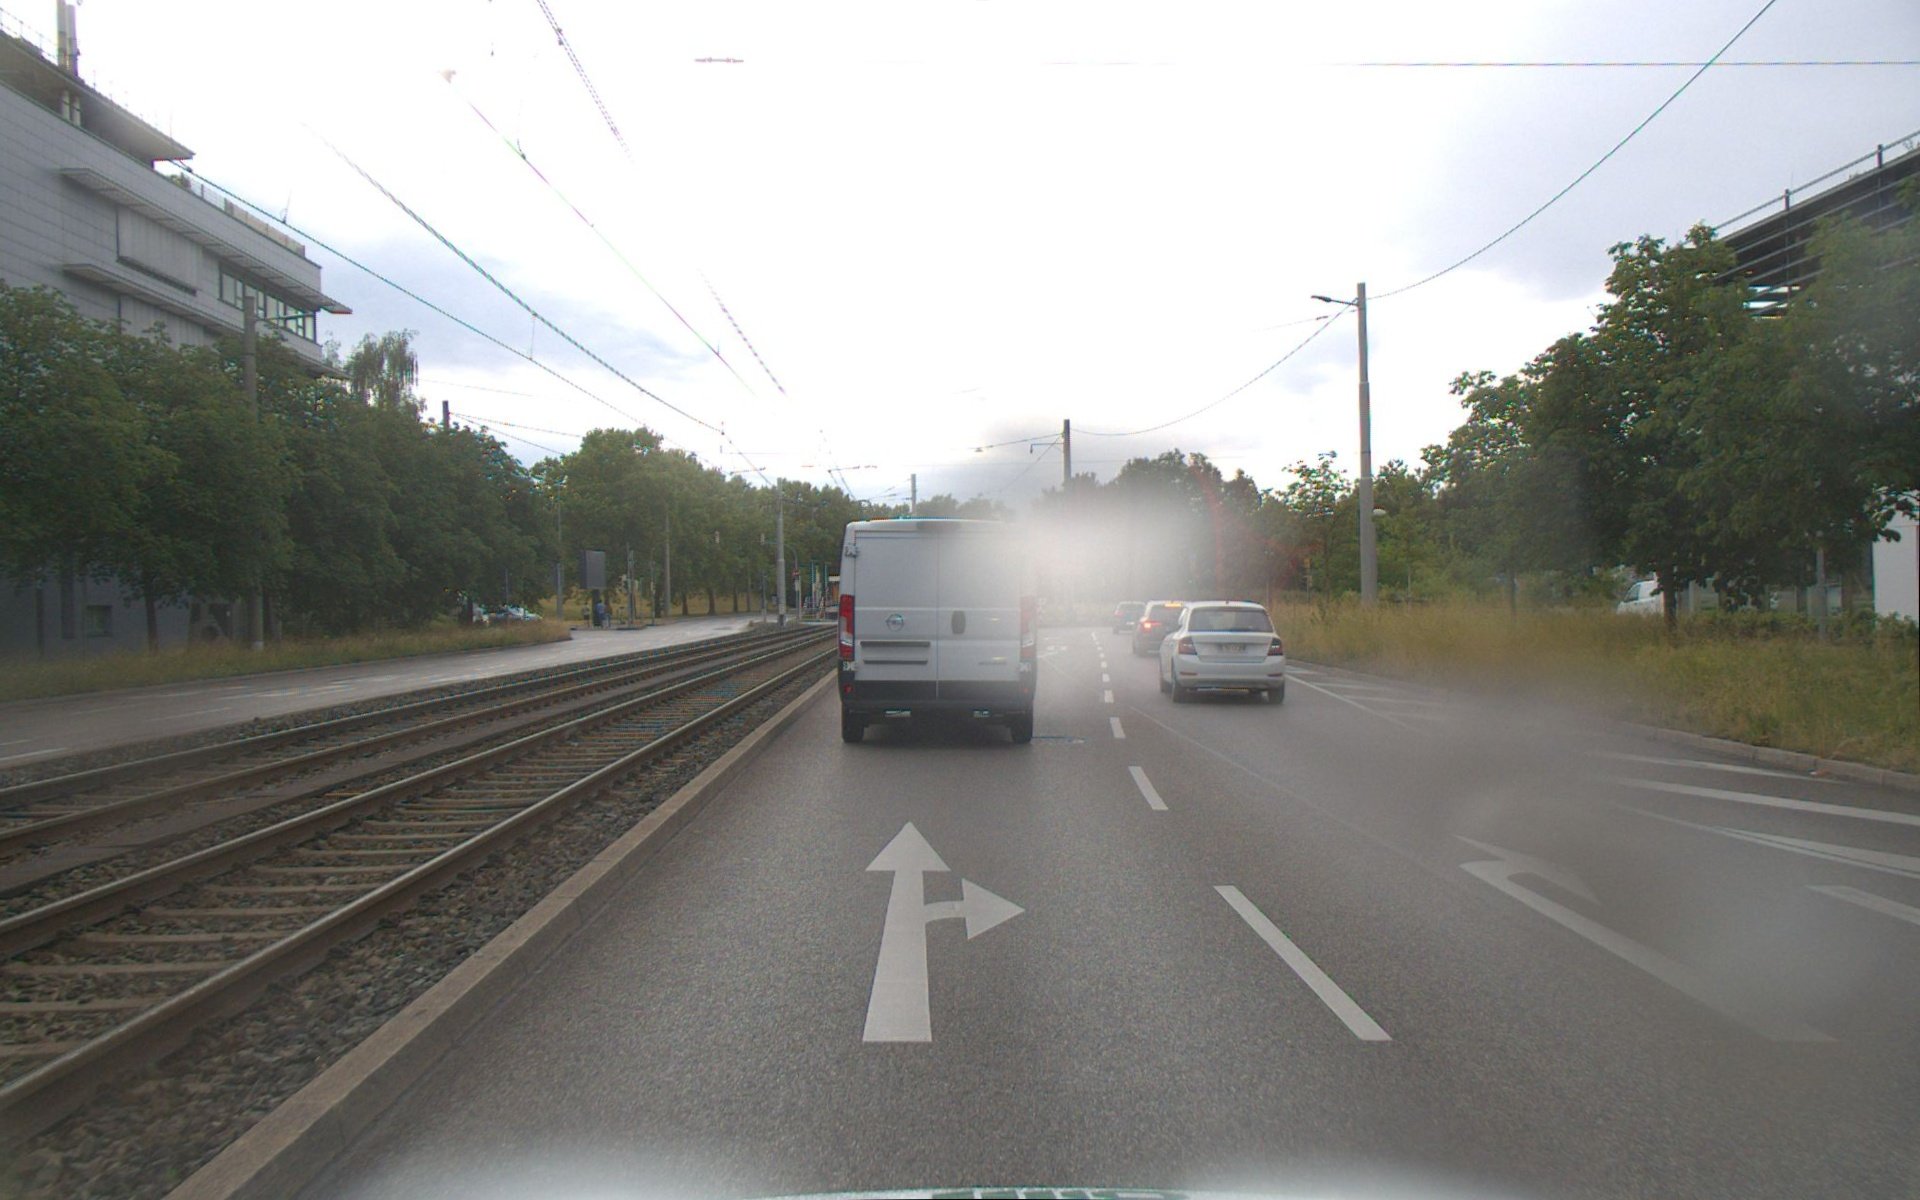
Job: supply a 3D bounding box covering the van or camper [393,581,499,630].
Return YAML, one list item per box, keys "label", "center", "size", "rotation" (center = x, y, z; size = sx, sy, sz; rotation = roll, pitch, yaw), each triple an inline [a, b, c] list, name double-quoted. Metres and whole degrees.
- label: "van or camper"
  center: [-32.818, 0.346, 105.429]
  size: [7.222, 3.019, 2.484]
  rotation: [0, 1, 34]

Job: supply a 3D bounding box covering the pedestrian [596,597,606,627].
- label: "pedestrian"
  center: [-23.677, 0.780, 109.083]
  size: [0.485, 1.990, 0.722]
  rotation: [1, 0, 3]

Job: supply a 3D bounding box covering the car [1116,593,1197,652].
- label: "car"
  center: [5.092, 0.571, 43.275]
  size: [1.752, 1.474, 4.001]
  rotation: [0, 0, 2]

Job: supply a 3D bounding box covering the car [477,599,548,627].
- label: "car"
  center: [-29.217, 0.831, 107.970]
  size: [4.534, 1.763, 1.995]
  rotation: [0, 1, 33]

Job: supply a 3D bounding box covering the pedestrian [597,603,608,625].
- label: "pedestrian"
  center: [-23.922, 0.933, 110.661]
  size: [0.485, 1.499, 0.722]
  rotation: [1, 0, 1]

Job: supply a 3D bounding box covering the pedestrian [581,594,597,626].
- label: "pedestrian"
  center: [-24.796, 0.664, 110.494]
  size: [0.870, 2.049, 0.865]
  rotation: [-1, 0, -6]

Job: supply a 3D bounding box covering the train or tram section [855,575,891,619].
- label: "train or tram section"
  center: [-8.252, -0.288, 157.898]
  size: [2.868, 4.001, 7.006]
  rotation: [1, 0, 1]

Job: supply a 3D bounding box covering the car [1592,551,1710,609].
- label: "car"
  center: [25.585, -0.706, 61.424]
  size: [2.003, 2.049, 5.087]
  rotation: [0, 0, -4]

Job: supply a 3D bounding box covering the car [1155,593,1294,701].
- label: "car"
  center: [3.978, 0.660, 25.355]
  size: [1.710, 1.483, 3.672]
  rotation: [1, 0, 3]

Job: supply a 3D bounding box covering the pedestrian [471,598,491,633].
- label: "pedestrian"
  center: [-26.485, 0.875, 91.506]
  size: [0.620, 1.900, 0.954]
  rotation: [-2, 0, 15]

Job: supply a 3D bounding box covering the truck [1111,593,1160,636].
- label: "truck"
  center: [8.077, 0.652, 75.964]
  size: [1.951, 1.822, 4.418]
  rotation: [-2, 0, 9]

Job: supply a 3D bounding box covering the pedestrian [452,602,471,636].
- label: "pedestrian"
  center: [-26.700, 1.001, 88.538]
  size: [0.710, 1.786, 0.877]
  rotation: [1, 0, 2]

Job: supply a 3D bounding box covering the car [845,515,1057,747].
- label: "car"
  center: [-0.182, 0.281, 18.604]
  size: [2.048, 2.235, 5.059]
  rotation: [1, 0, -2]

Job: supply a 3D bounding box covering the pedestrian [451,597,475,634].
- label: "pedestrian"
  center: [-27.482, 0.855, 91.457]
  size: [0.868, 2.049, 0.946]
  rotation: [-1, 0, 14]

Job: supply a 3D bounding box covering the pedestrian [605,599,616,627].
- label: "pedestrian"
  center: [-23.015, 0.877, 108.863]
  size: [0.495, 1.818, 0.832]
  rotation: [1, 0, 4]
